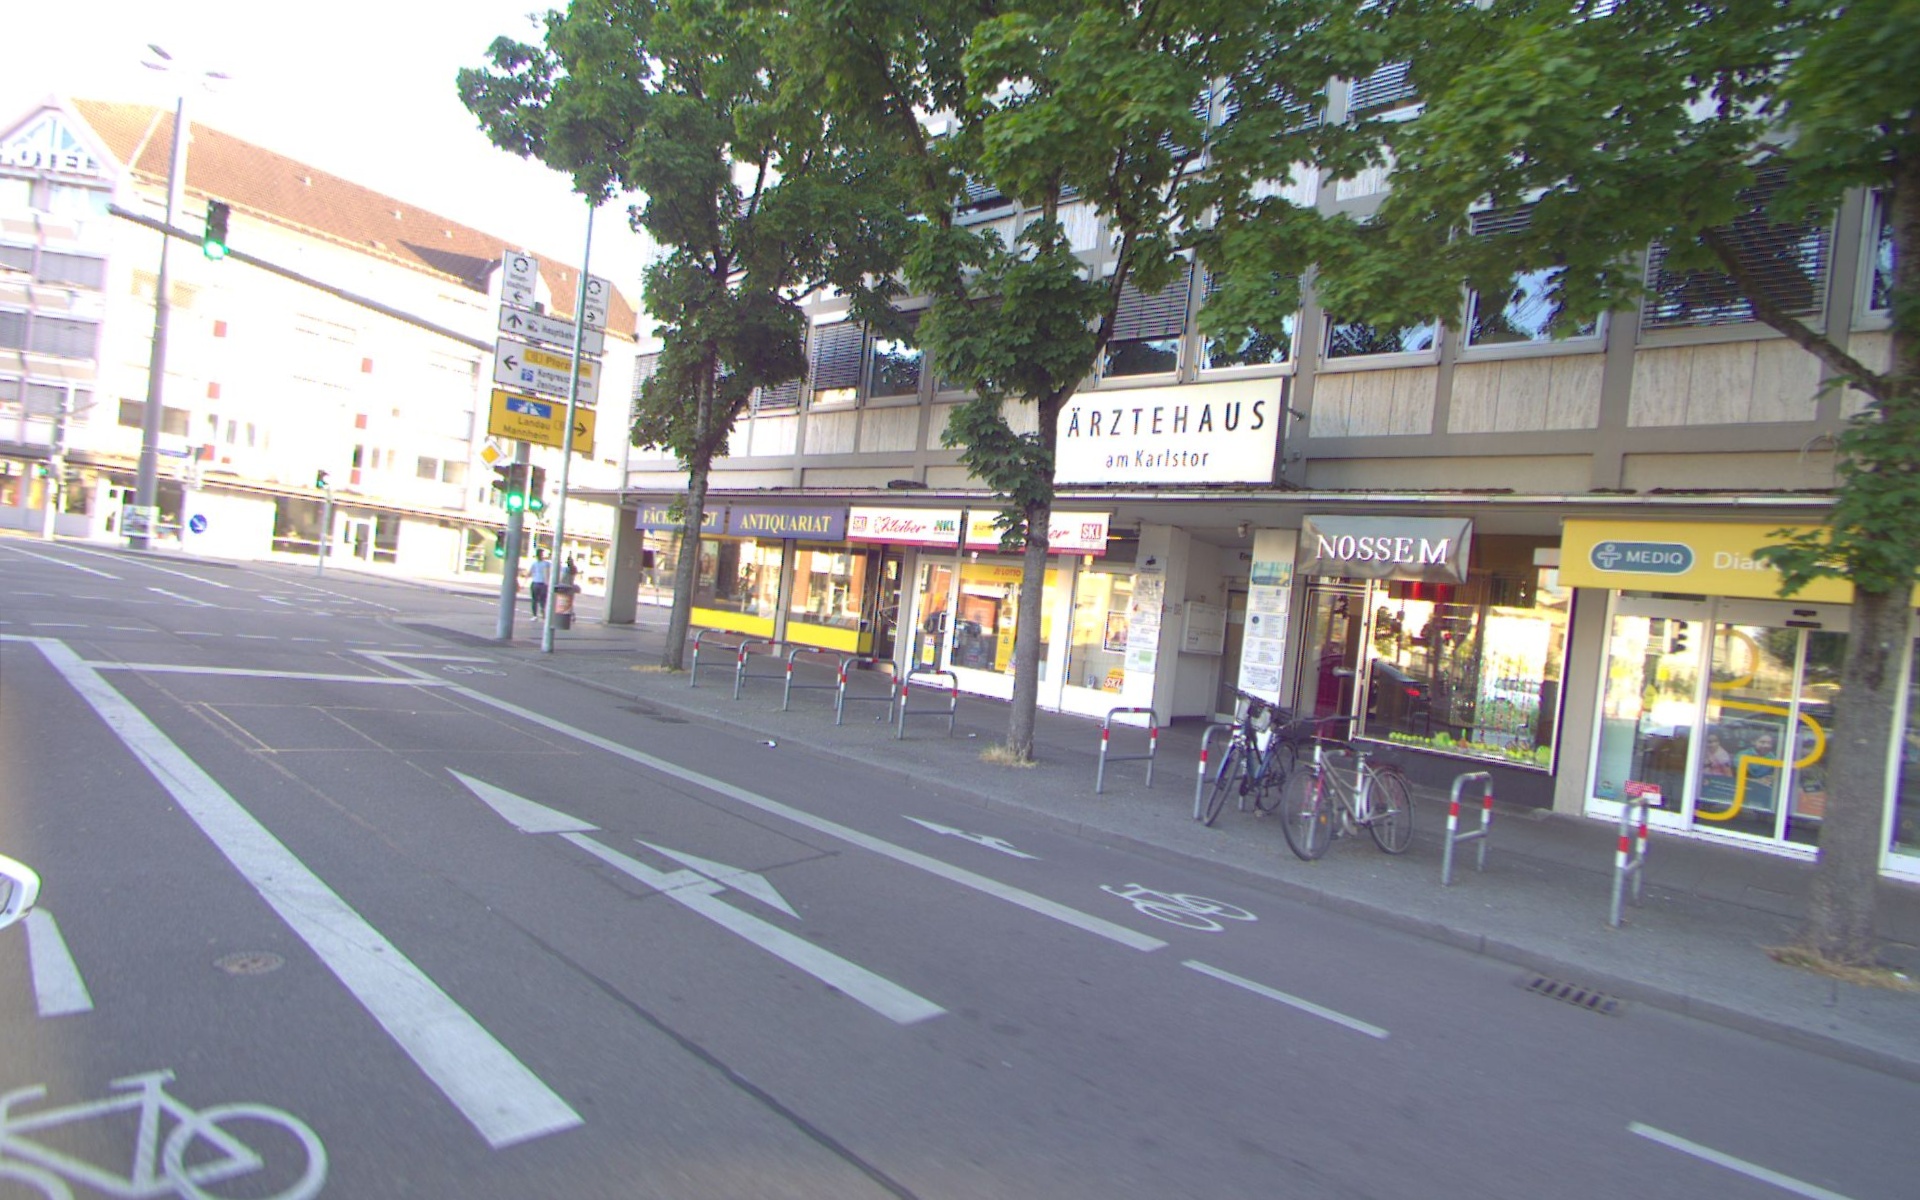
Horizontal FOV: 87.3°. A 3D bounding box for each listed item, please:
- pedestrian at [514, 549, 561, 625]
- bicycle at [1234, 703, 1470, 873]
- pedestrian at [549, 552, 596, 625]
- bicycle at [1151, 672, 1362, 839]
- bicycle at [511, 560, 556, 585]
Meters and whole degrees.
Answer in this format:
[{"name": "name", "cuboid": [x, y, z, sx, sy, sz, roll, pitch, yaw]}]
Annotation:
[{"name": "pedestrian", "cuboid": [-9.887, -0.299, 23.547, 0.682, 1.687, 0.662, 6, 1, -45]}, {"name": "bicycle", "cuboid": [3.147, 1.464, 7.981, 1.985, 1.124, 0.662, 7, 0, -35]}, {"name": "pedestrian", "cuboid": [-9.441, -0.283, 24.500, 0.721, 1.687, 0.662, 6, 1, -45]}, {"name": "bicycle", "cuboid": [2.624, 1.345, 8.793, 1.894, 1.251, 0.661, 7, 0, -37]}, {"name": "bicycle", "cuboid": [-26.445, -1.698, 62.410, 0.810, 1.281, 2.404, 7, 0, 37]}]
